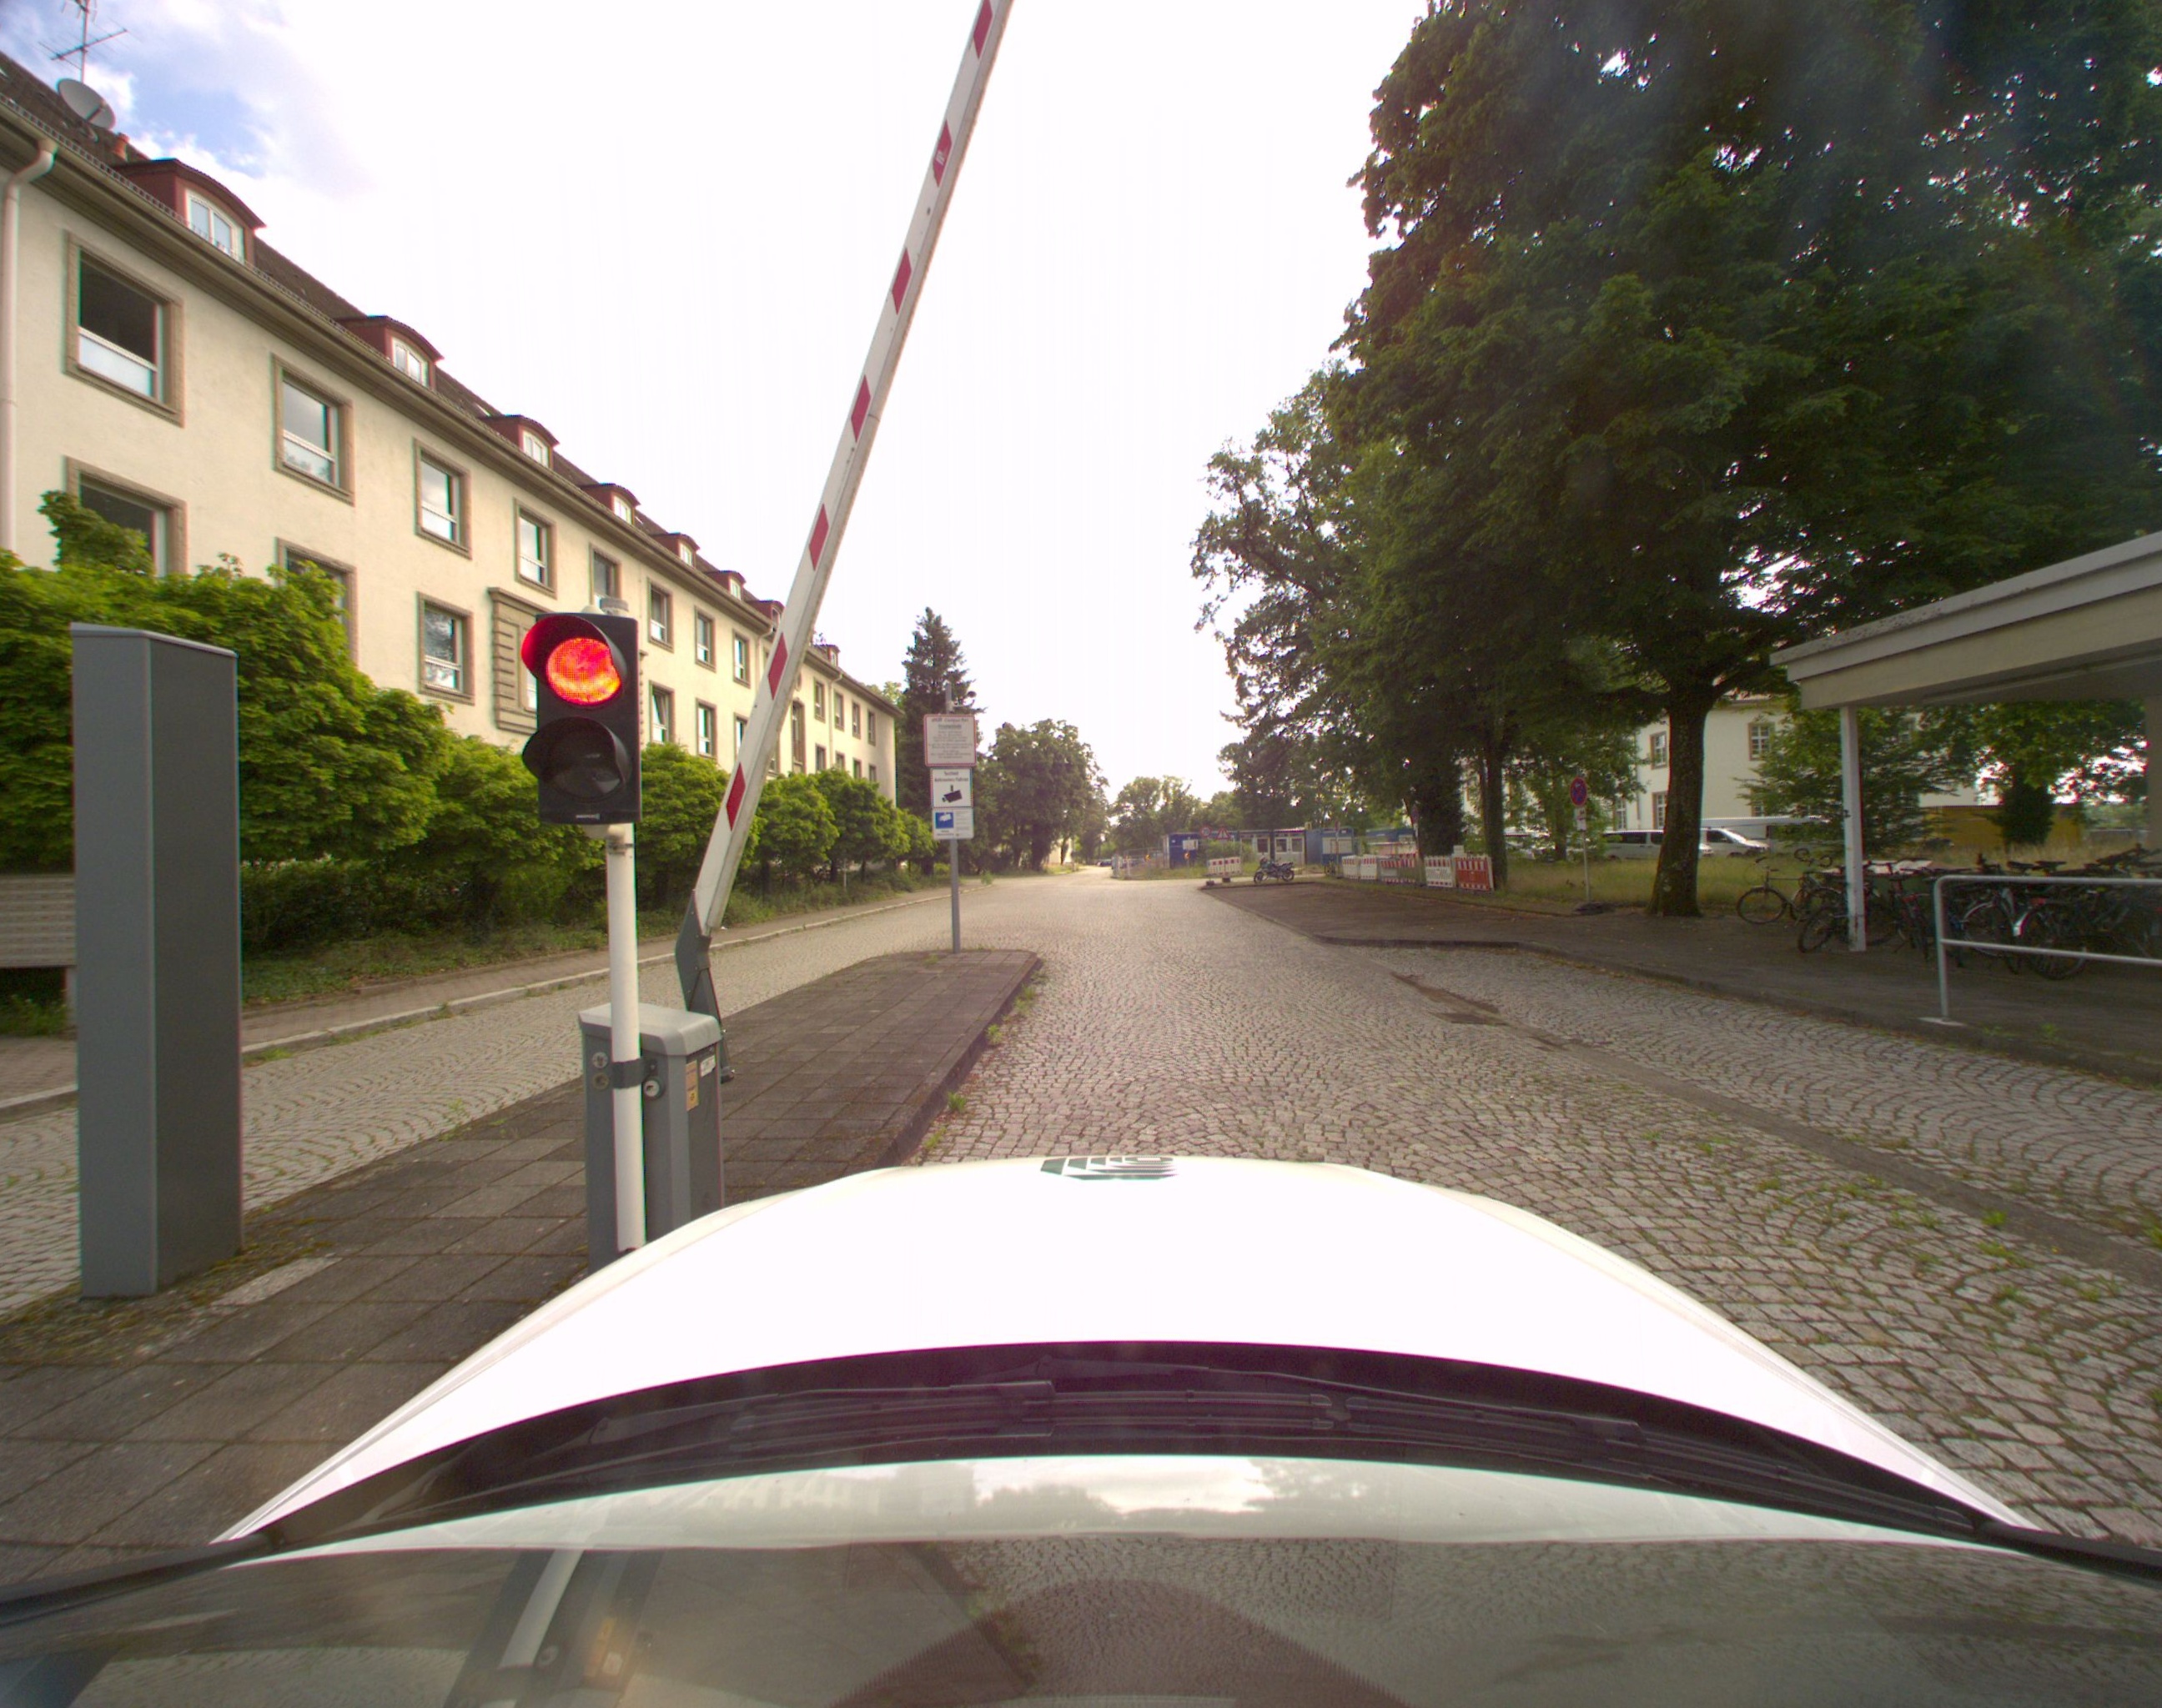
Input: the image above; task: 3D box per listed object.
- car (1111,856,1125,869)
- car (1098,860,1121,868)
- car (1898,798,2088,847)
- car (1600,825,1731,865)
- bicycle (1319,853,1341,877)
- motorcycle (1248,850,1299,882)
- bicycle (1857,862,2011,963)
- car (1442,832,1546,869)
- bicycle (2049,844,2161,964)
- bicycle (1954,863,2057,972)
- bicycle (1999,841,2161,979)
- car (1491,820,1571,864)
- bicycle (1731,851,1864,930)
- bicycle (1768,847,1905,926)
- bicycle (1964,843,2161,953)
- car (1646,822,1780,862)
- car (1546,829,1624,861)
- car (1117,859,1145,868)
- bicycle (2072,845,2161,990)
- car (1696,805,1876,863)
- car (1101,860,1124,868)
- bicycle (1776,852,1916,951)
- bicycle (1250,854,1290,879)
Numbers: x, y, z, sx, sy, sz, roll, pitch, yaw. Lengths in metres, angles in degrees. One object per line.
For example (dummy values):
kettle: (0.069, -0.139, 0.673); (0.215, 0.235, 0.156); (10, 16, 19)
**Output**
car: (5.960, 1.375, 131.280); (1.987, 2.014, 4.091); (-1, -1, 1)
car: (6.339, 2.223, 180.944); (4.770, 1.641, 1.997); (-1, -1, -4)
car: (42.129, -1.438, 37.749); (6.116, 2.095, 2.214); (0, -1, 3)
car: (28.417, -0.377, 39.779); (2.003, 1.825, 4.834); (0, -1, -25)
bicycle: (12.673, 0.528, 41.529); (0.639, 1.169, 1.907); (-2, 0, 4)
motorcycle: (9.446, 0.571, 40.056); (2.271, 1.485, 0.756); (-2, 0, -3)
bicycle: (9.756, 0.629, 9.306); (1.751, 0.976, 0.752); (-3, 0, -28)
car: (23.132, -0.197, 45.776); (4.838, 1.920, 1.908); (-2, 1, 3)
bicycle: (11.532, 0.493, 8.672); (1.736, 1.165, 0.608); (-3, 0, -3)
bicycle: (9.666, 0.627, 8.501); (1.639, 0.976, 0.319); (-3, 0, -29)
bicycle: (9.829, 0.513, 7.883); (1.631, 1.190, 0.471); (-3, 0, -12)
car: (27.531, -0.654, 50.075); (1.984, 2.556, 5.916); (0, -1, 4)
bicycle: (11.093, 0.532, 12.691); (0.595, 1.117, 1.635); (-3, 0, 1)
bicycle: (11.718, 0.475, 12.705); (0.595, 1.117, 1.635); (-3, 0, 1)
bicycle: (11.706, 0.502, 9.697); (1.736, 1.165, 0.608); (-3, 0, -3)
car: (31.068, -0.543, 40.208); (2.003, 1.825, 4.834); (0, -1, -25)
car: (30.512, -0.474, 49.464); (1.985, 1.825, 4.880); (0, -1, 4)
car: (8.407, 1.586, 137.144); (4.375, 1.510, 2.005); (-1, -1, 10)
bicycle: (9.855, 0.526, 7.329); (1.630, 1.190, 0.418); (-3, 0, -11)
car: (34.349, -0.876, 39.964); (2.005, 2.578, 6.365); (0, -1, -27)
car: (6.946, 2.186, 178.032); (4.770, 1.641, 1.997); (-1, -1, -4)
bicycle: (9.577, 0.574, 10.200); (1.677, 1.108, 0.337); (-3, 0, -12)
bicycle: (9.875, 0.645, 42.553); (1.882, 1.197, 0.659); (-2, 0, 21)
